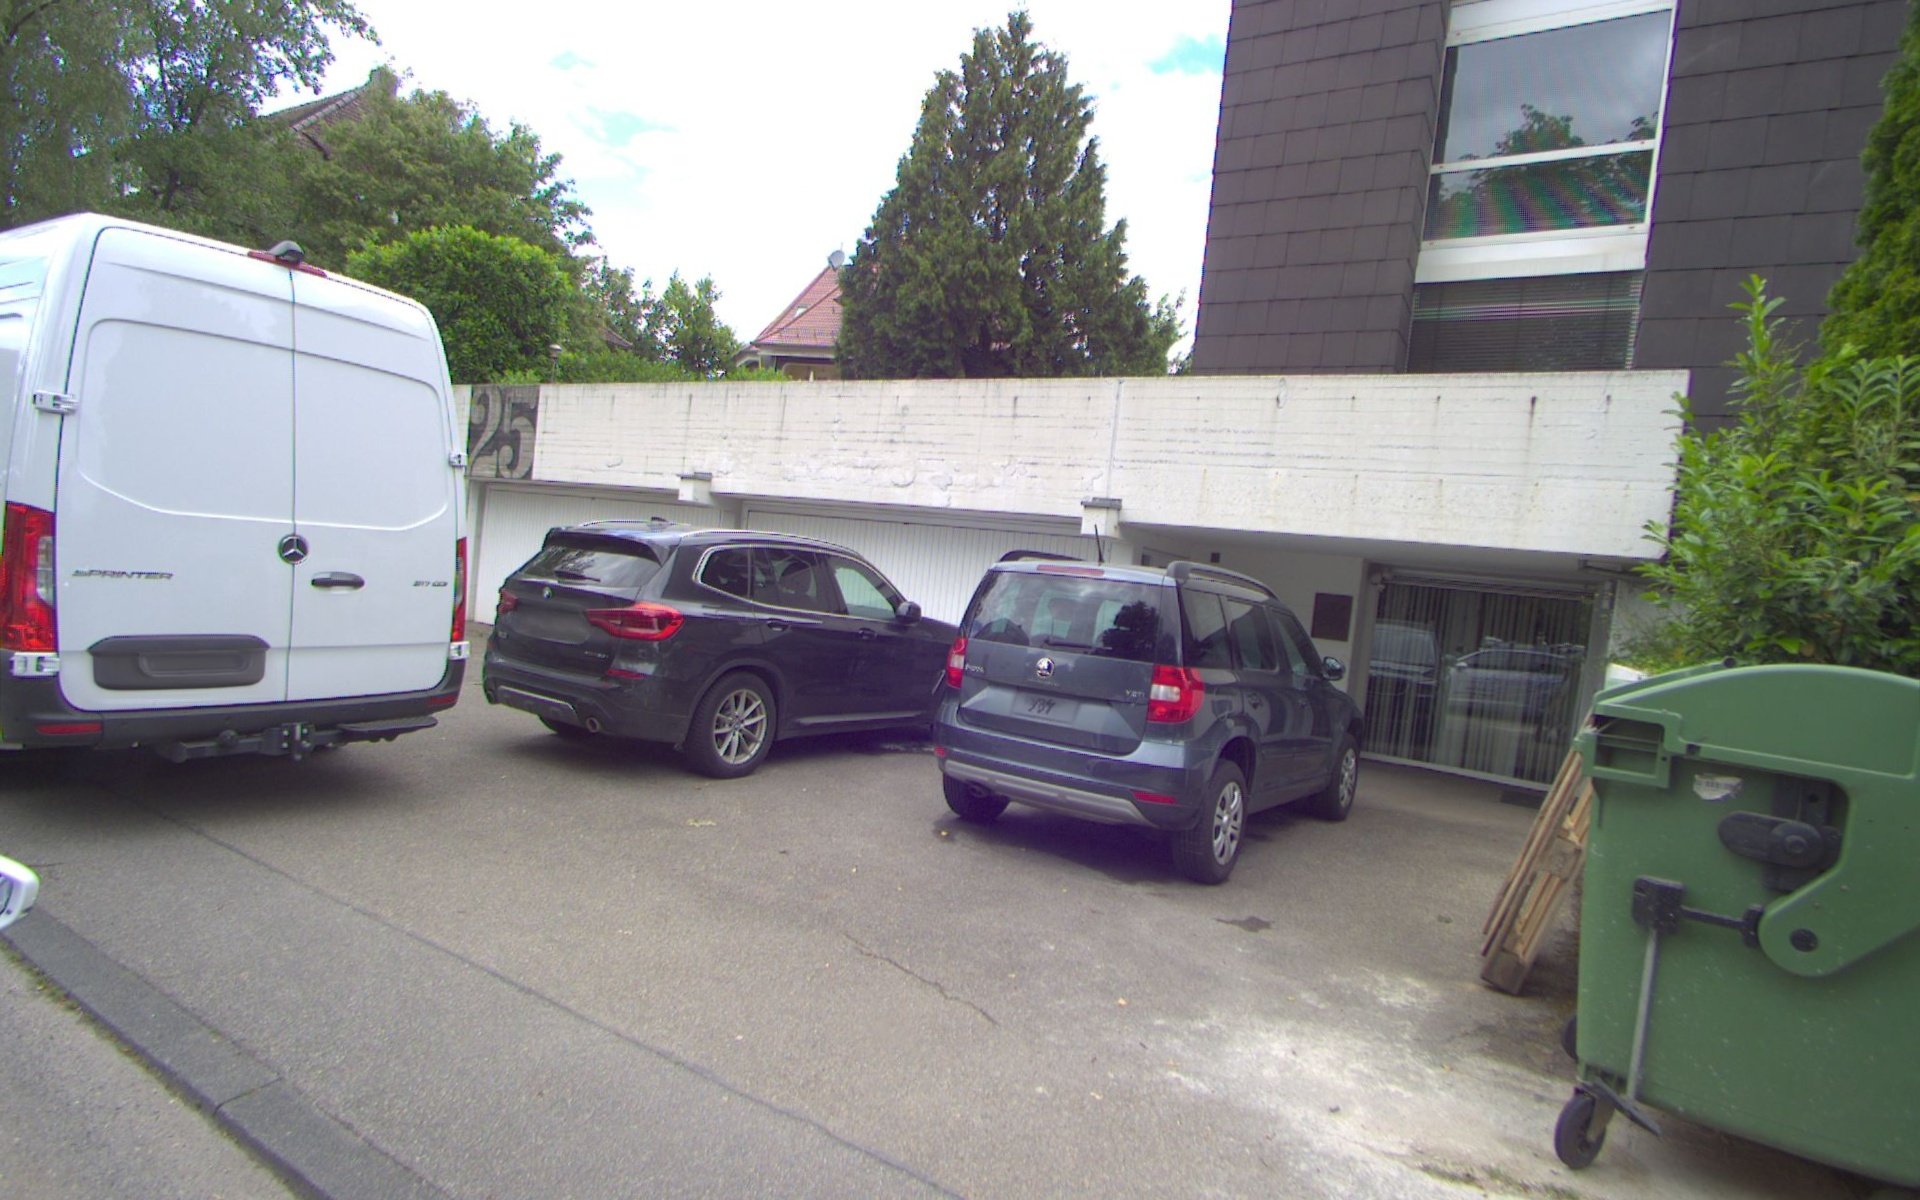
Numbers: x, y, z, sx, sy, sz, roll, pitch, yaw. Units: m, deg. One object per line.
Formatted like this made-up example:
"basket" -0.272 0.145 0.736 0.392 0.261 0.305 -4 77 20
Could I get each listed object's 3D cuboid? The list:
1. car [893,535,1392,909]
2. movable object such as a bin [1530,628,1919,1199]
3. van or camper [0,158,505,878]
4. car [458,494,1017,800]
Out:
"car" 1.497 0.636 6.793 1.717 1.673 3.899 6 1 35
"movable object such as a bin" 2.422 0.894 2.973 1.098 1.469 1.405 6 1 32
"van or camper" -5.743 -0.560 6.269 6.436 2.662 1.990 6 4 32
"car" -1.393 0.316 8.033 1.668 1.696 4.383 6 1 32
